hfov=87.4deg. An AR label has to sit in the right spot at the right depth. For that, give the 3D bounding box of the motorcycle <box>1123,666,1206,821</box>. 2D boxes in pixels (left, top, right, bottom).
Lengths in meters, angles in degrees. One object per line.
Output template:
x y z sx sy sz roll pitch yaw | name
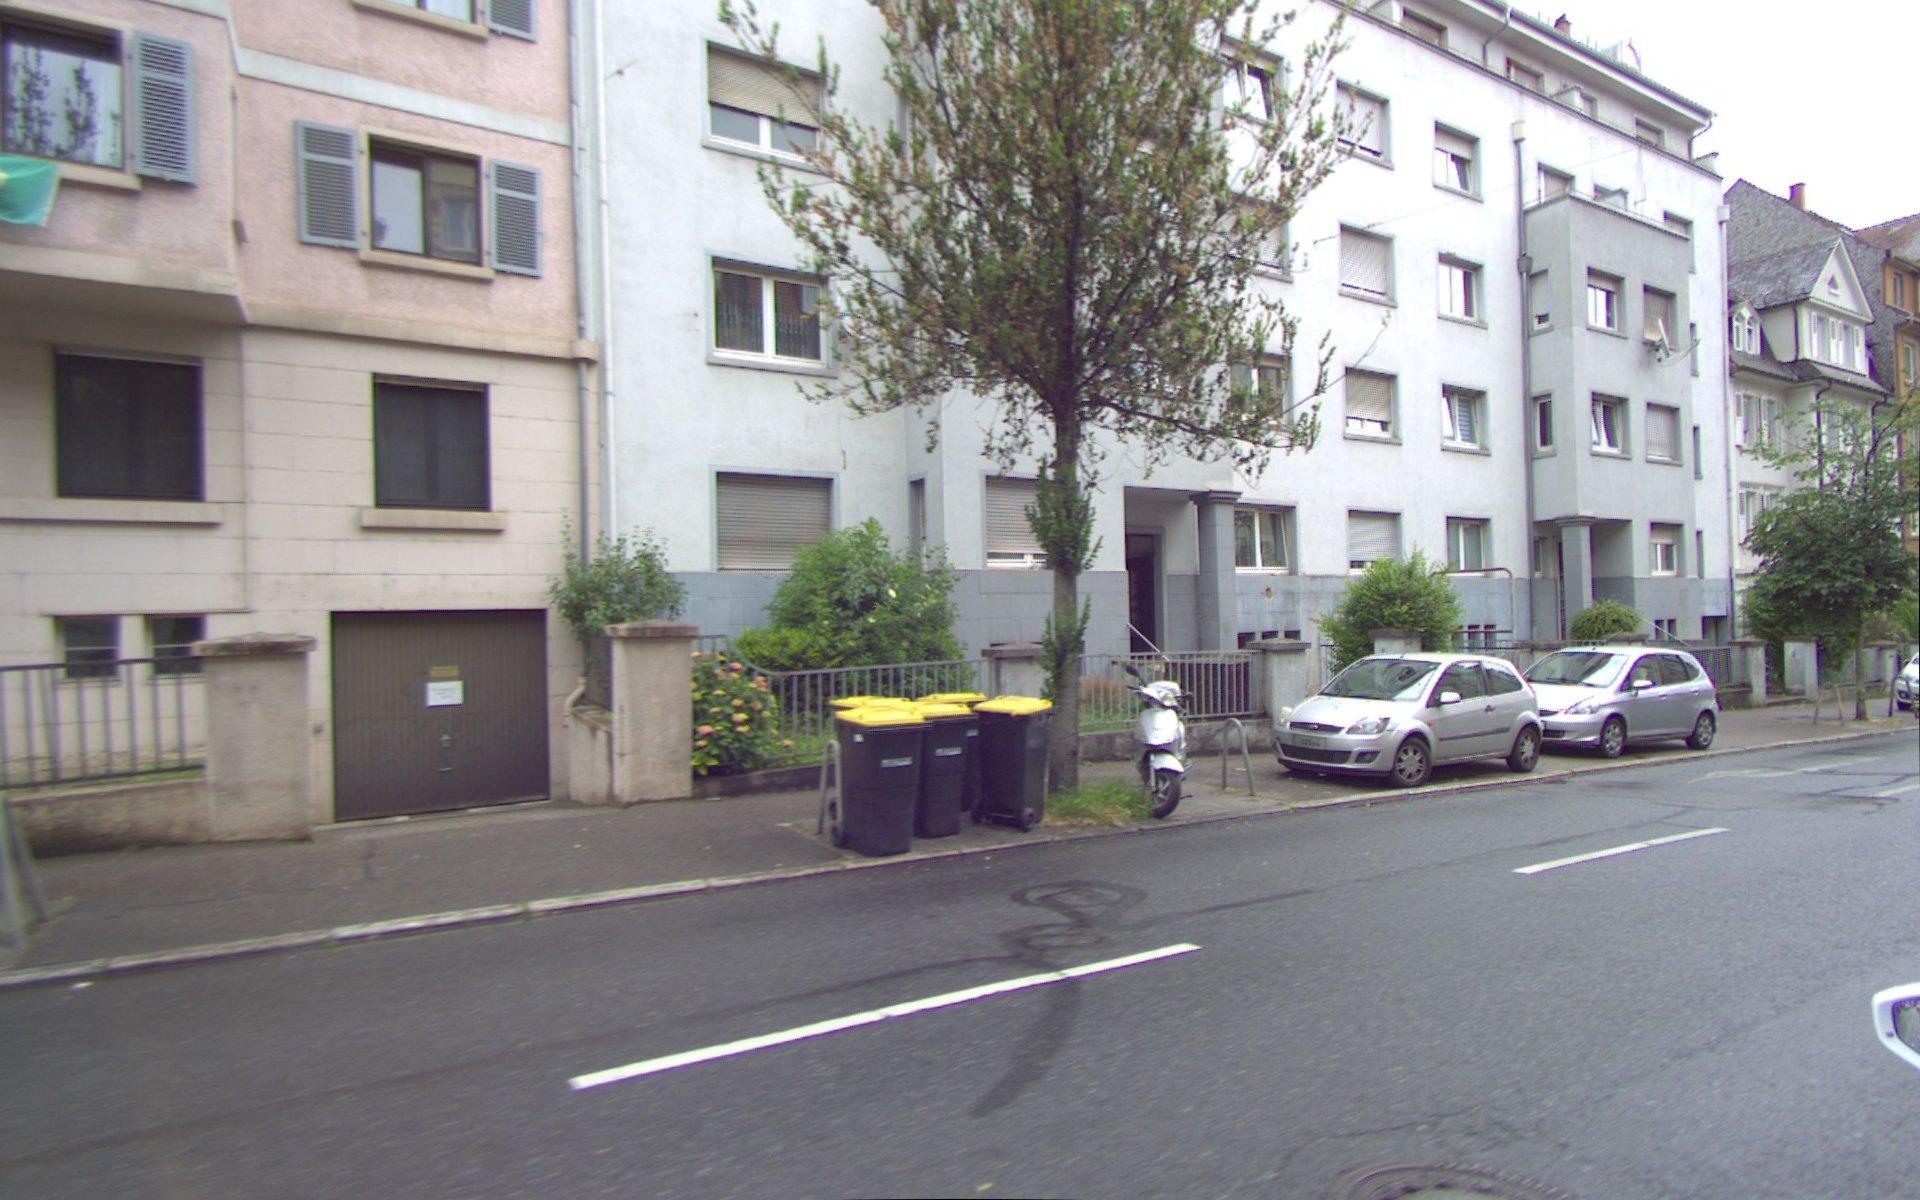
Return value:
1.997 1.346 9.932 0.727 1.332 1.813 0 -2 10 | motorcycle

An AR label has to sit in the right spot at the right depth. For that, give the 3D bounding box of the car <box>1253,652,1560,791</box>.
5.524 1.387 12.291 3.845 1.415 1.592 3 -2 -32 | car

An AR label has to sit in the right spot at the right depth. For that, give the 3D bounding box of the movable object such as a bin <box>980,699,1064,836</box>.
0.545 1.443 8.785 0.517 1.072 0.482 3 0 37 | movable object such as a bin

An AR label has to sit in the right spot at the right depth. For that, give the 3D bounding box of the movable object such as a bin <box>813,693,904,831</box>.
-0.900 1.390 8.817 0.478 1.072 0.821 2 -1 -30 | movable object such as a bin

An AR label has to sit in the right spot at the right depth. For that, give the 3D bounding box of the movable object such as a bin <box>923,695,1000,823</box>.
0.015 1.442 9.224 0.480 1.072 0.467 2 1 -40 | movable object such as a bin

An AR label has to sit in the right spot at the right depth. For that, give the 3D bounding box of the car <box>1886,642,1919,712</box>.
22.897 1.770 22.997 3.756 1.528 1.636 3 -2 -33 | car

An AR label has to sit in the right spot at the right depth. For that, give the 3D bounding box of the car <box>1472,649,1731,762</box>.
9.586 1.508 14.964 3.839 1.470 1.594 2 -2 -28 | car

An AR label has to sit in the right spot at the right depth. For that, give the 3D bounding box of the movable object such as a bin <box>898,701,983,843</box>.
-0.162 1.408 8.373 0.480 1.072 0.467 2 1 -40 | movable object such as a bin

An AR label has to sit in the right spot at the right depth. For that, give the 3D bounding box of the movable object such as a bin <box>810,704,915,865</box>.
-0.771 1.394 7.780 0.478 1.072 0.821 2 0 -30 | movable object such as a bin
